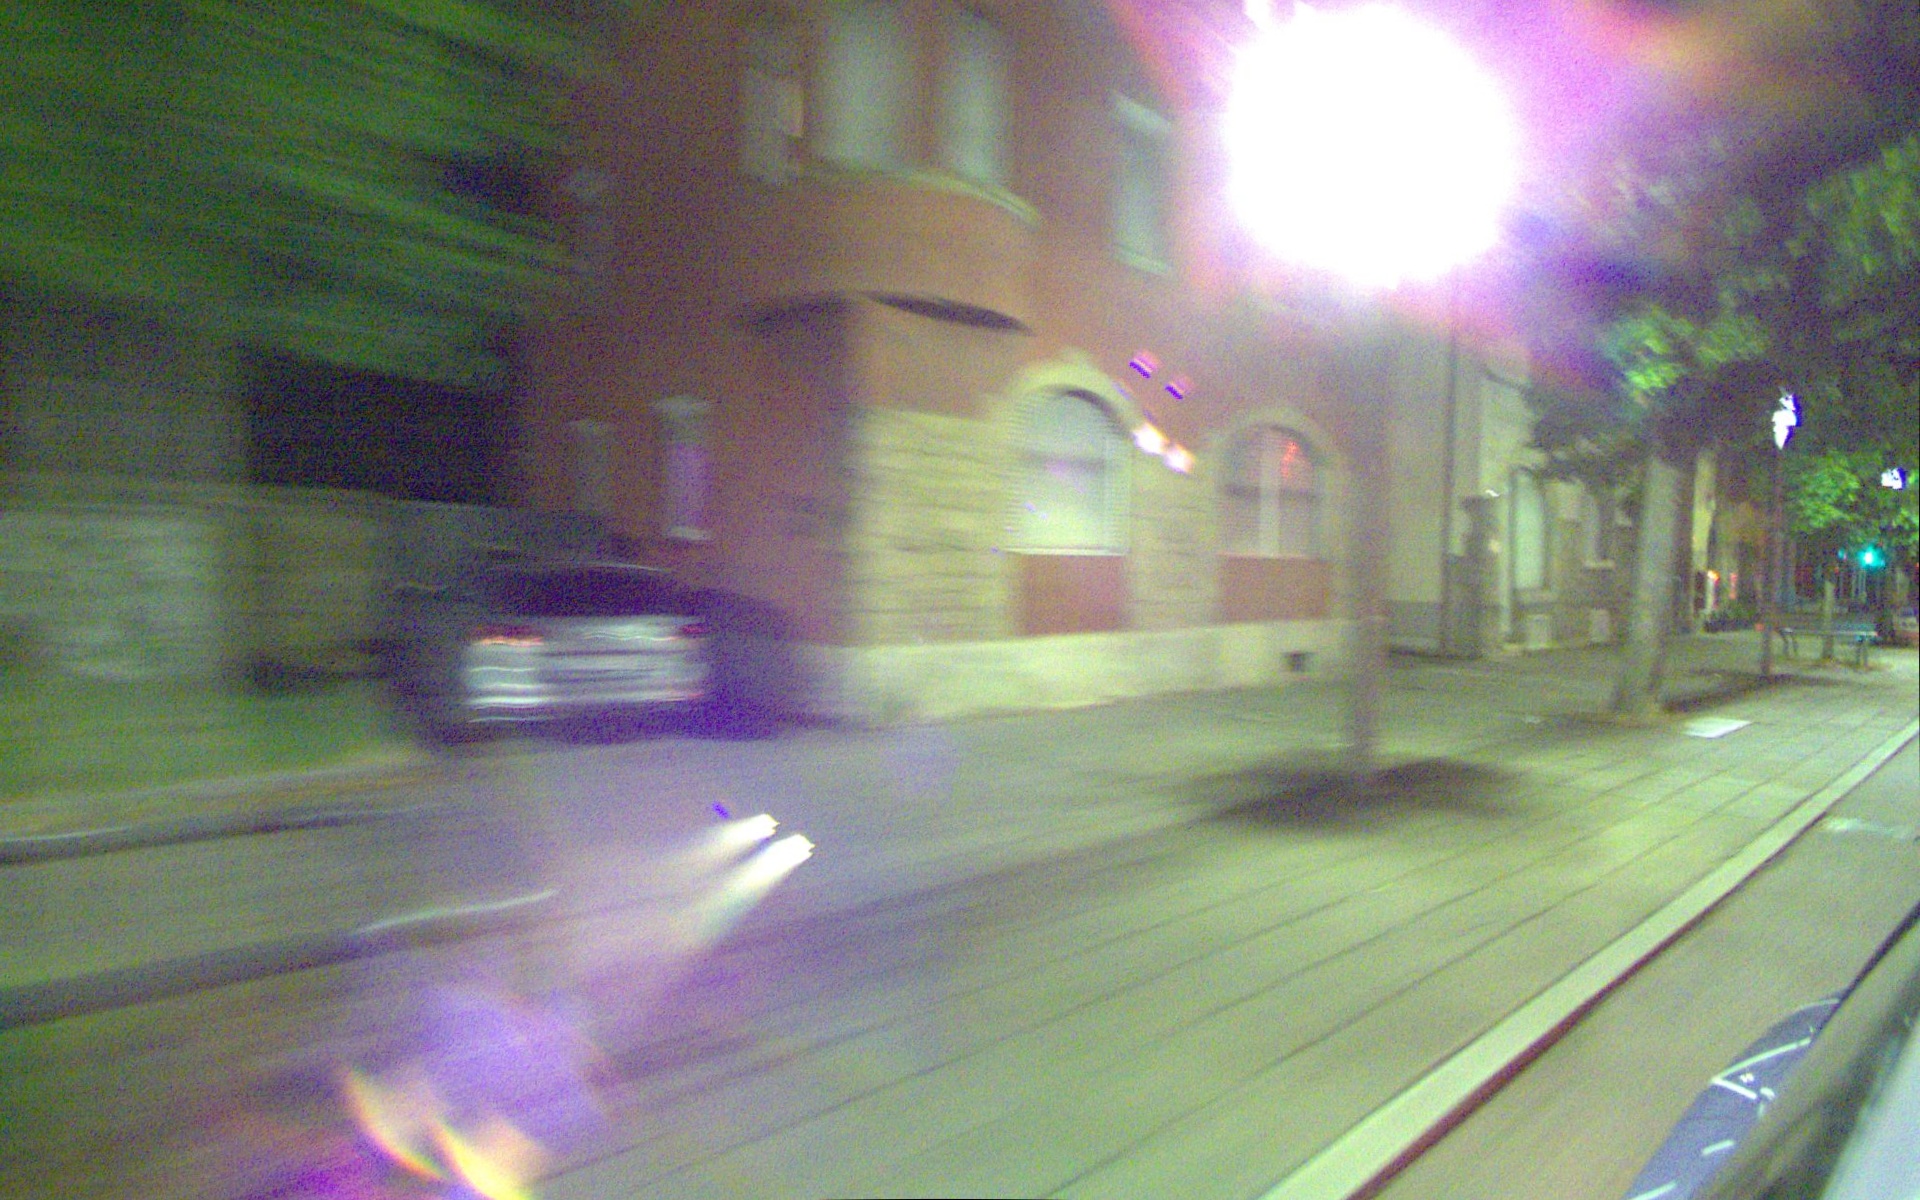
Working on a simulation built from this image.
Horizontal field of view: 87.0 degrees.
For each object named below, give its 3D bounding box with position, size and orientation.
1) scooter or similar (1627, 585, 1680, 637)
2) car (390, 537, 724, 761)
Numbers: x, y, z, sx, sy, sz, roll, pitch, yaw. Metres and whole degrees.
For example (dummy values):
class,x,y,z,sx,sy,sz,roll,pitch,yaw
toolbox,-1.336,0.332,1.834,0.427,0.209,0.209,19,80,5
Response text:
class,x,y,z,sx,sy,sz,roll,pitch,yaw
scooter or similar,15.641,0.233,22.811,1.464,1.144,0.423,-1,3,-34
car,-3.802,0.210,8.996,1.755,1.477,4.443,0,3,-35
